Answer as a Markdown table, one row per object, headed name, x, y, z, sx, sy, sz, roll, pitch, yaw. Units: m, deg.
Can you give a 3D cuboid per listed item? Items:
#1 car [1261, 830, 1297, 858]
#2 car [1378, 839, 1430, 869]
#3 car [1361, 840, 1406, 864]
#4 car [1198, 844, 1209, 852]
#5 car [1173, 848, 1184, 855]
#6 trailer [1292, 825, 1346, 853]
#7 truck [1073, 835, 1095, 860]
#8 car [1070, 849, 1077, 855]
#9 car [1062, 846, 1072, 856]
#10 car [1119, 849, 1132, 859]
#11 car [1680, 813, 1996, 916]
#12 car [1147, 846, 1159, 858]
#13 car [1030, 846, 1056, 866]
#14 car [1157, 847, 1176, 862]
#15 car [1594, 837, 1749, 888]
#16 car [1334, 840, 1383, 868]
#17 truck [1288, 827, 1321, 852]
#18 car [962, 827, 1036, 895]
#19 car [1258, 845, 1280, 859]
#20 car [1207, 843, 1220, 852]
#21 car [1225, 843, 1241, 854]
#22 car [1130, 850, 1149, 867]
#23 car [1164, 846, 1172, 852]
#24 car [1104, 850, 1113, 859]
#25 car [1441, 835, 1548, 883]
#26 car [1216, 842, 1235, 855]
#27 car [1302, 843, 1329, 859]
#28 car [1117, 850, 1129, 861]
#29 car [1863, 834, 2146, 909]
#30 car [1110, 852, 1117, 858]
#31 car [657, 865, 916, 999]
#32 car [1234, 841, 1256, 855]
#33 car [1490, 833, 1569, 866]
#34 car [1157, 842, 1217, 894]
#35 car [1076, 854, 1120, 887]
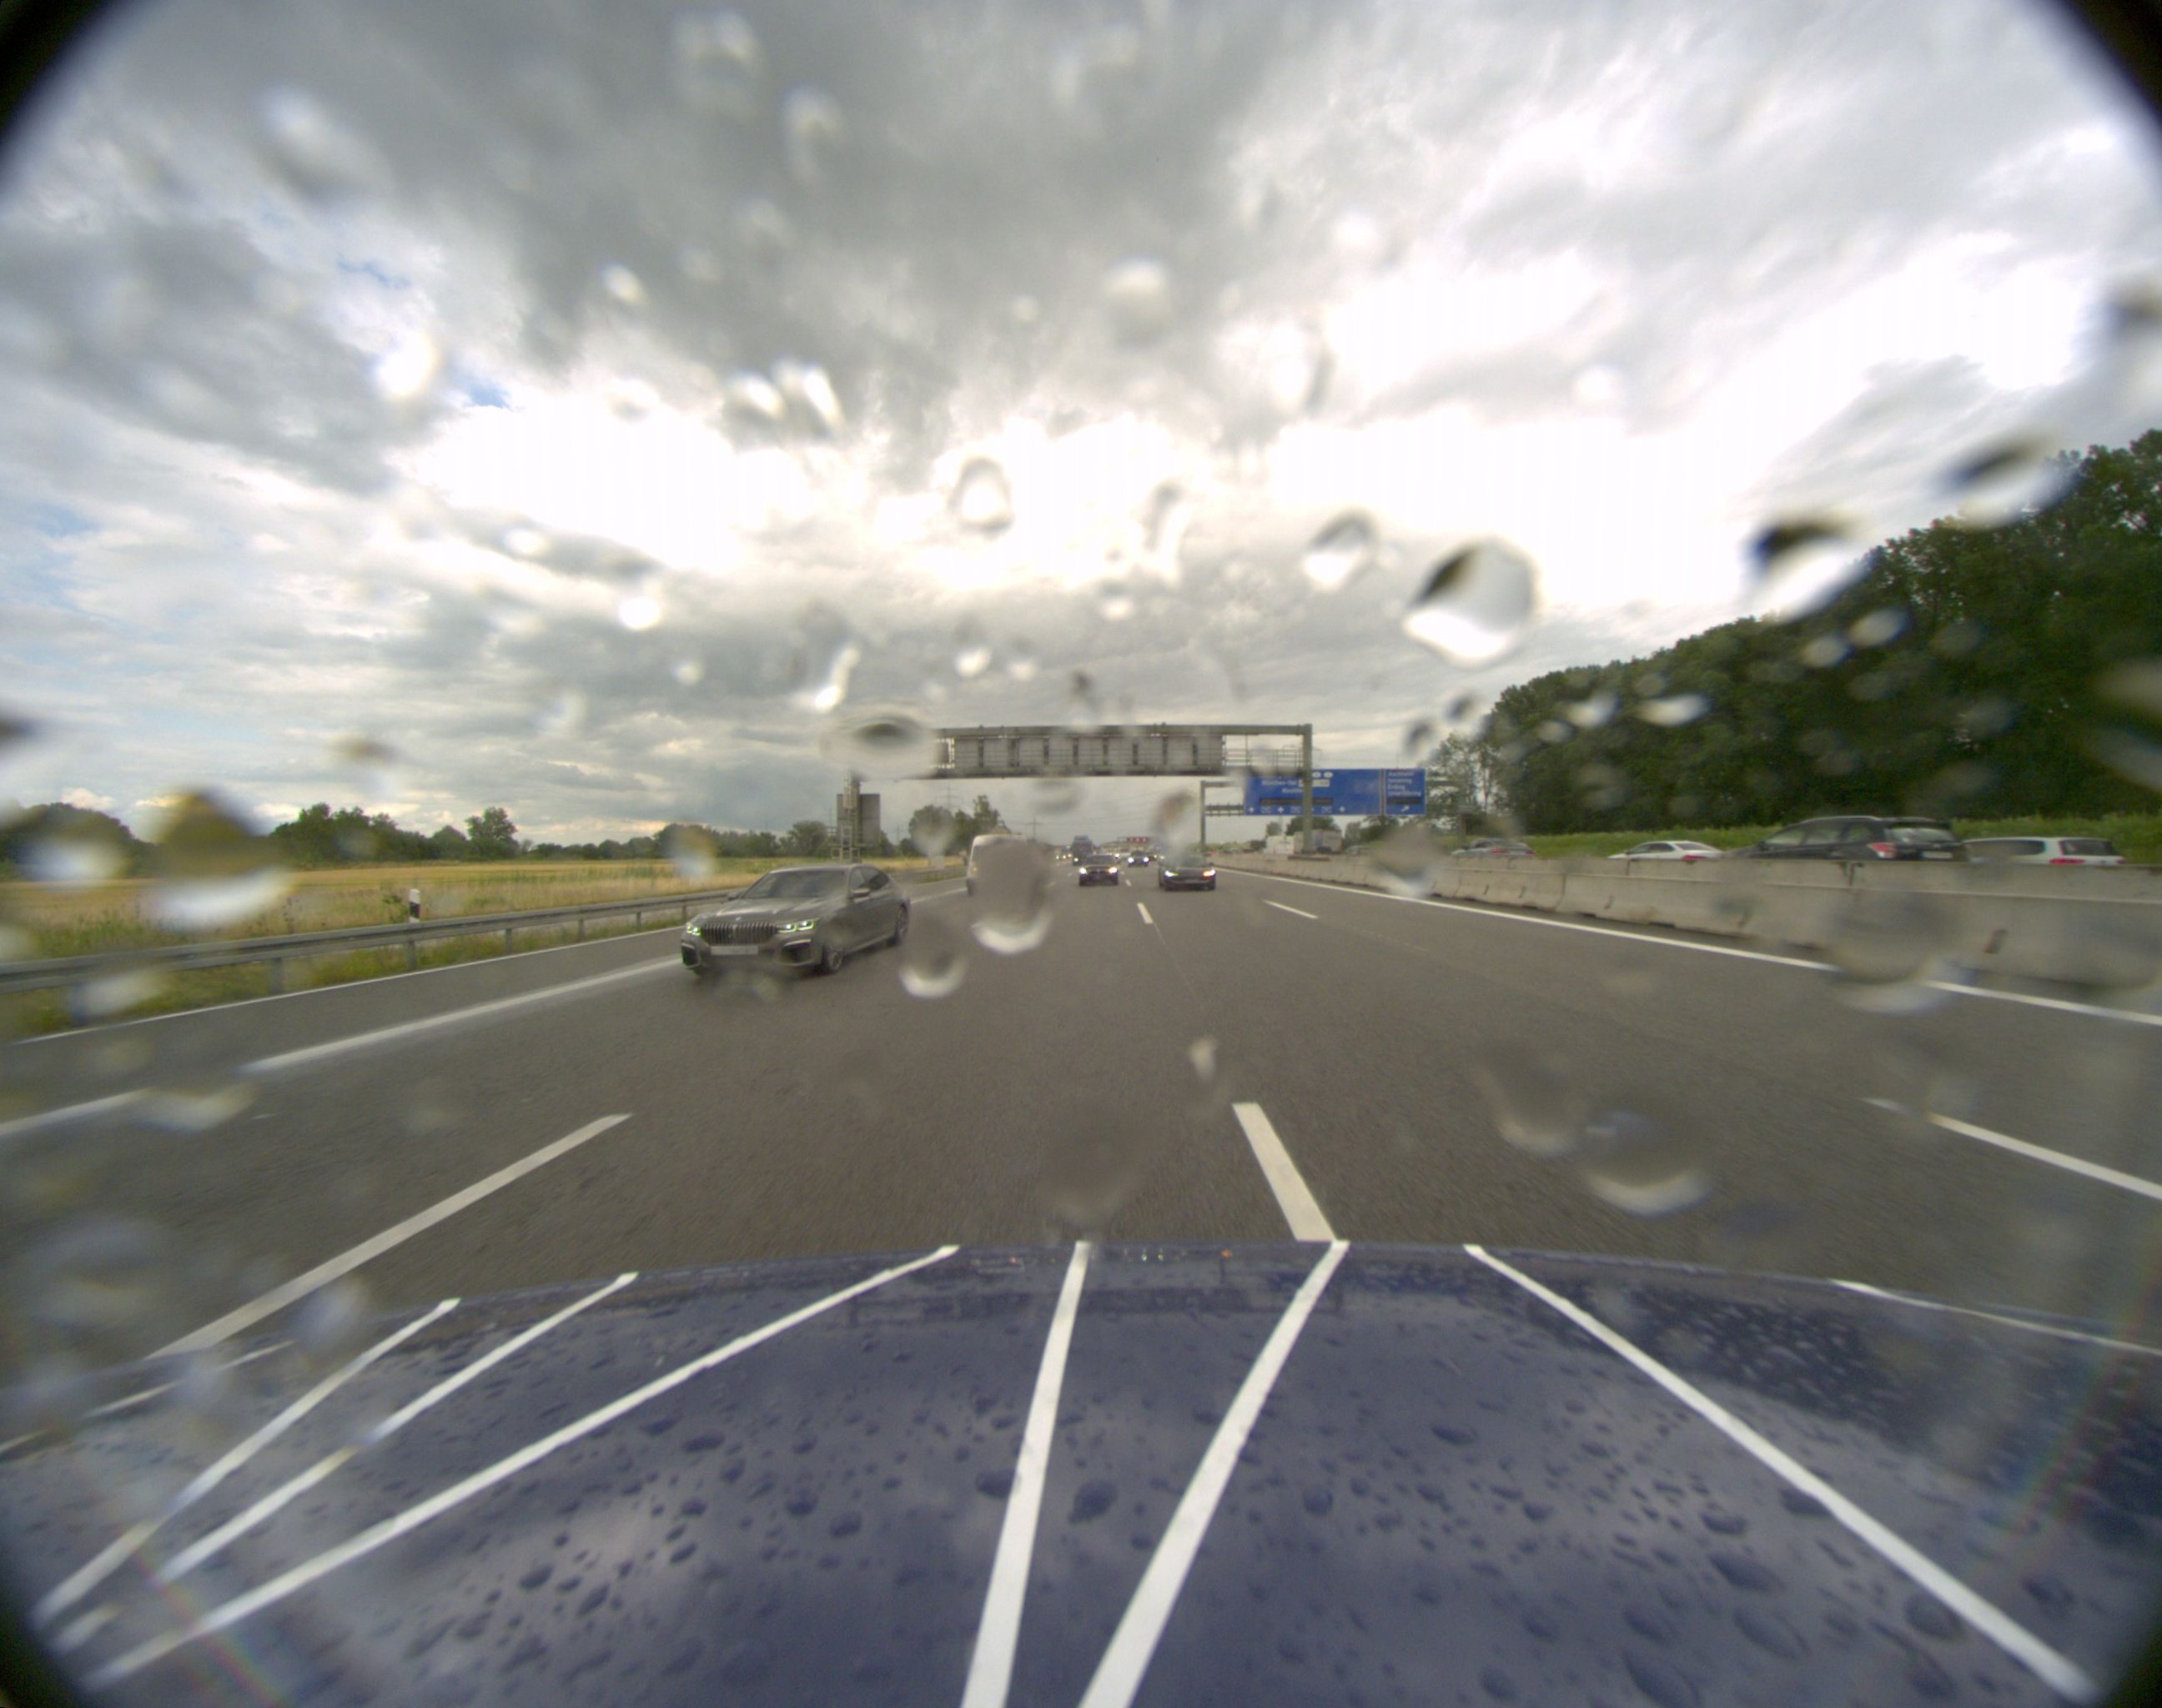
| name | x | y | z | sx | sy | sz | roll | pitch | yaw |
| --- | --- | --- | --- | --- | --- | --- | --- | --- | --- |
| car | 19.467 | -0.955 | 74.991 | 1.998 | 2.601 | 6.343 | -2 | 1 | 1 |
| car | 22.958 | -0.013 | 54.174 | 1.998 | 2.002 | 4.000 | -2 | 1 | 1 |
| car | 27.242 | -0.206 | 68.560 | 1.998 | 2.002 | 5.404 | -2 | 1 | 1 |
| car | 27.046 | -1.263 | 168.033 | 1.998 | 1.717 | 4.018 | -2 | 1 | 2 |
| car | 22.706 | -0.615 | 176.522 | 1.785 | 1.687 | 4.501 | -2 | 1 | -1 |
| trailer | 32.454 | -2.024 | 104.309 | 3.117 | 3.487 | 14.452 | -2 | 1 | 1 |
| truck | 0.402 | -0.791 | 91.178 | 2.391 | 2.726 | 6.593 | -2 | 1 | 1 |
| car | -1.948 | -0.617 | 189.669 | 1.545 | 1.419 | 4.000 | -1 | 1 | 1 |
| car | -2.695 | -0.620 | 149.954 | 1.835 | 2.002 | 3.863 | -2 | 1 | 1 |
| car | 6.721 | -0.044 | 114.451 | 1.806 | 1.424 | 4.000 | -2 | 1 | 1 |
| car | 16.309 | 0.183 | 16.911 | 1.998 | 1.887 | 5.187 | -2 | 1 | 2 |
| car | 10.347 | -0.260 | 109.403 | 1.710 | 1.621 | 4.001 | -2 | 1 | 5 |
| car | -3.170 | 0.157 | 63.842 | 1.999 | 1.632 | 4.629 | -1 | 0 | -1 |
| car | 9.528 | 0.040 | 85.288 | 1.822 | 1.565 | 4.000 | -2 | 1 | 3 |
| car | 21.818 | 0.266 | 28.398 | 1.998 | 1.694 | 5.078 | -1 | 0 | 3 |
| car | 18.908 | 0.010 | 51.971 | 1.709 | 1.783 | 4.429 | -2 | 1 | 1 |
| truck | 32.586 | -2.049 | 111.014 | 3.143 | 3.487 | 6.100 | -2 | 1 | 1 |
| car | -3.238 | 0.247 | 31.091 | 2.145 | 2.486 | 5.448 | -2 | 1 | 2 |
| car | 24.829 | -0.300 | 100.361 | 1.998 | 1.717 | 4.017 | -2 | 1 | 1 |
| car | 26.488 | -1.379 | 152.268 | 1.998 | 1.717 | 4.017 | -2 | 1 | 1 |
| car | 25.238 | -0.915 | 126.303 | 1.998 | 1.717 | 4.017 | -2 | 1 | 1 |
| car | 5.635 | 0.419 | 73.113 | 1.710 | 1.562 | 4.347 | -2 | 1 | 5 |
| car | 24.110 | -1.424 | 210.327 | 1.998 | 1.652 | 4.461 | -1 | 1 | 2 |
| car | 6.346 | 0.087 | 174.533 | 1.998 | 1.810 | 5.163 | -2 | 1 | 3 |
| car | 18.074 | 0.173 | 33.562 | 1.998 | 1.874 | 5.186 | -2 | 1 | 1 |
| car | 20.664 | -0.752 | 108.811 | 1.998 | 1.717 | 4.017 | -2 | 1 | 1 |
| car | 27.419 | -0.365 | 89.083 | 1.998 | 1.696 | 4.000 | -2 | 1 | 2 |
| car | 7.909 | 0.270 | 142.788 | 1.998 | 1.810 | 5.162 | -2 | 1 | 2 |
| car | 25.657 | 0.422 | 21.507 | 1.998 | 1.842 | 5.078 | -1 | 0 | 3 |
| car | 9.562 | 0.277 | 221.566 | 1.998 | 1.801 | 4.274 | -1 | 1 | 2 |
| car | -4.122 | 0.991 | 11.675 | 1.944 | 1.482 | 4.775 | -2 | 1 | 2 |
| car | 19.635 | -0.706 | 91.331 | 1.873 | 1.648 | 4.000 | -2 | 1 | 2 |
| car | 25.854 | -0.265 | 44.010 | 1.709 | 1.783 | 4.969 | -2 | 1 | 1 |
| car | 4.031 | 0.482 | 29.641 | 1.998 | 1.810 | 5.164 | -2 | 1 | 5 |
| car | 0.835 | 0.724 | 35.258 | 1.922 | 1.407 | 4.000 | -1 | 0 | 3 |
